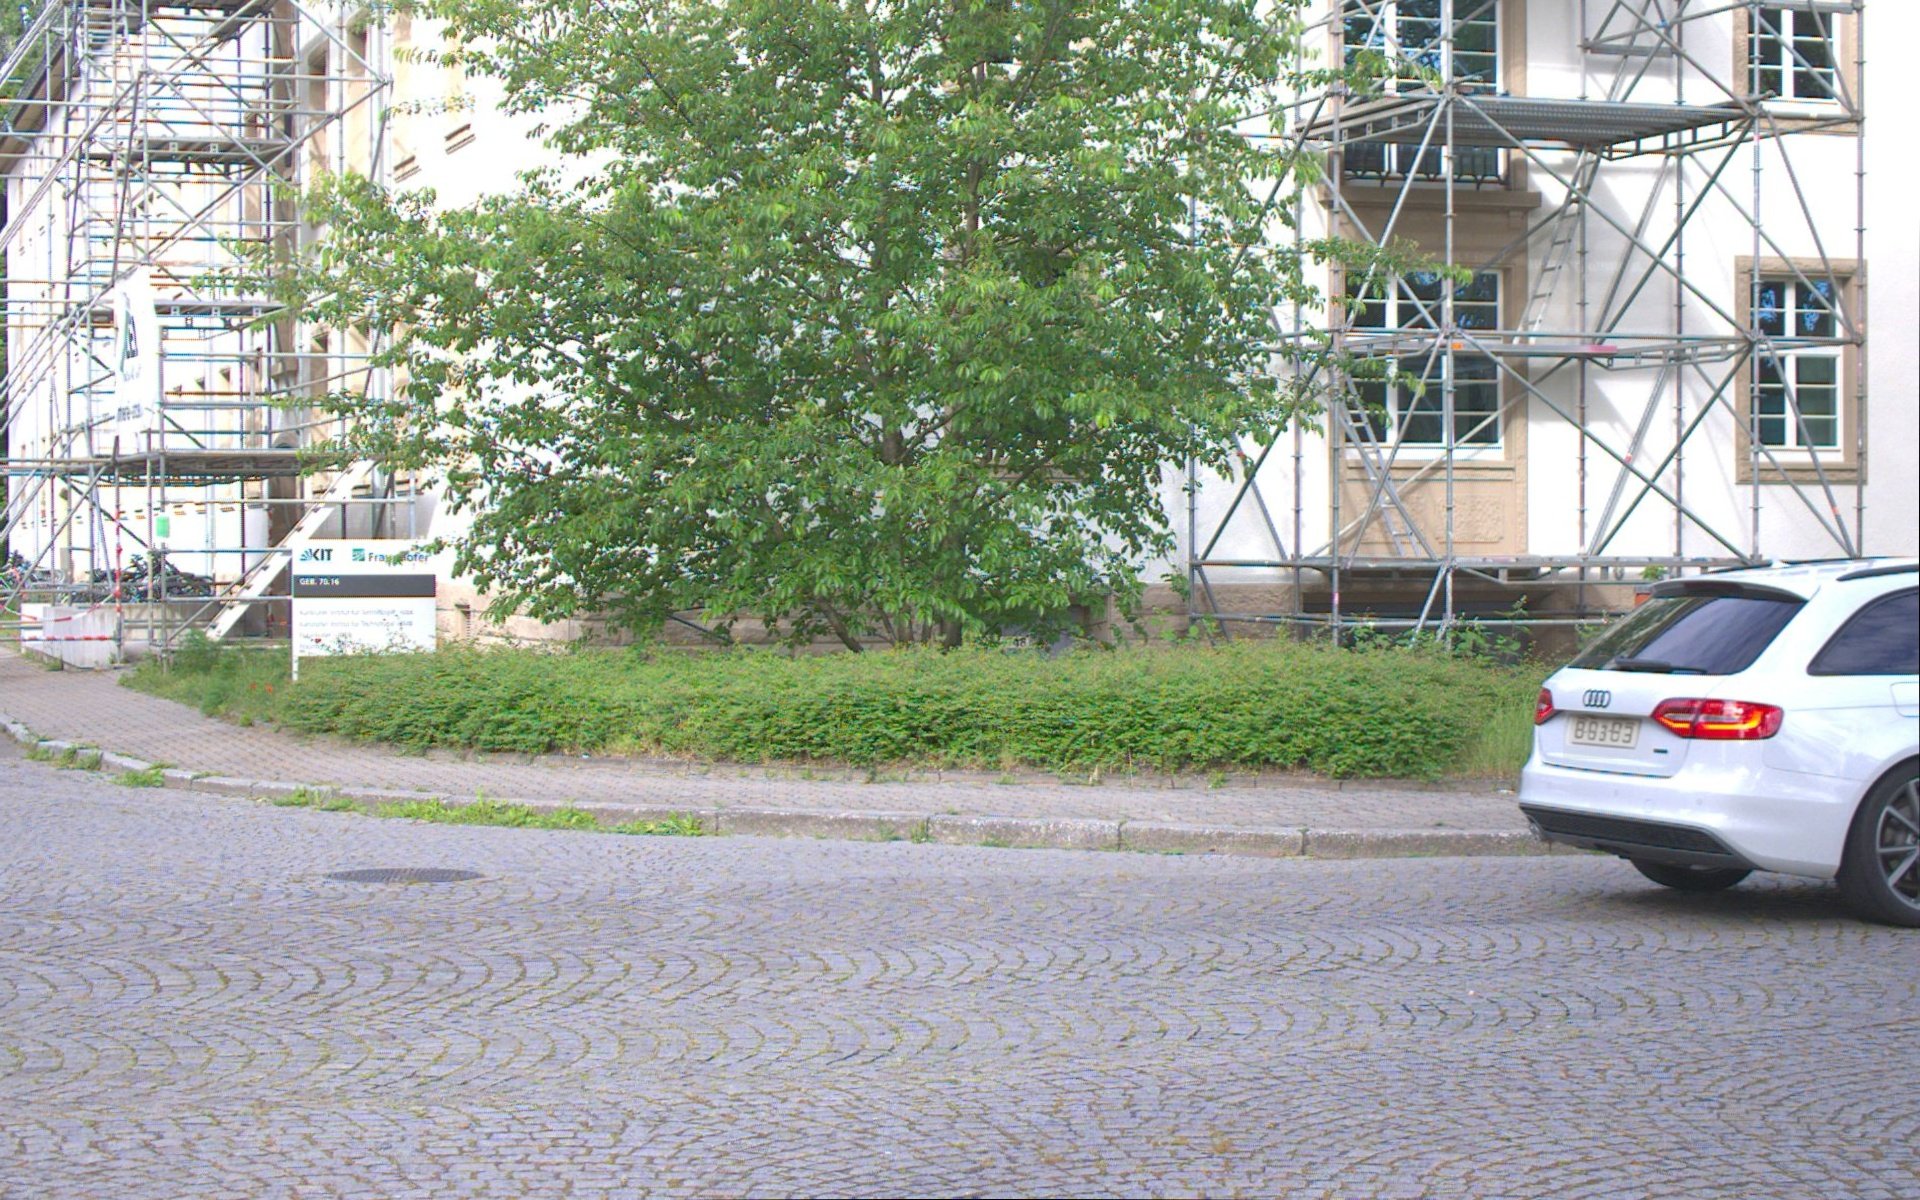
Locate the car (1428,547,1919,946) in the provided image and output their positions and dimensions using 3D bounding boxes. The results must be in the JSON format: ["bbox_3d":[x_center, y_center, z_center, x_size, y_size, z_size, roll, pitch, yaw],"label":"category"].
[{"bbox_3d":[4.471,0.506,14.244,4.689,1.432,1.855,-1,2,-20],"label":"car"}]
